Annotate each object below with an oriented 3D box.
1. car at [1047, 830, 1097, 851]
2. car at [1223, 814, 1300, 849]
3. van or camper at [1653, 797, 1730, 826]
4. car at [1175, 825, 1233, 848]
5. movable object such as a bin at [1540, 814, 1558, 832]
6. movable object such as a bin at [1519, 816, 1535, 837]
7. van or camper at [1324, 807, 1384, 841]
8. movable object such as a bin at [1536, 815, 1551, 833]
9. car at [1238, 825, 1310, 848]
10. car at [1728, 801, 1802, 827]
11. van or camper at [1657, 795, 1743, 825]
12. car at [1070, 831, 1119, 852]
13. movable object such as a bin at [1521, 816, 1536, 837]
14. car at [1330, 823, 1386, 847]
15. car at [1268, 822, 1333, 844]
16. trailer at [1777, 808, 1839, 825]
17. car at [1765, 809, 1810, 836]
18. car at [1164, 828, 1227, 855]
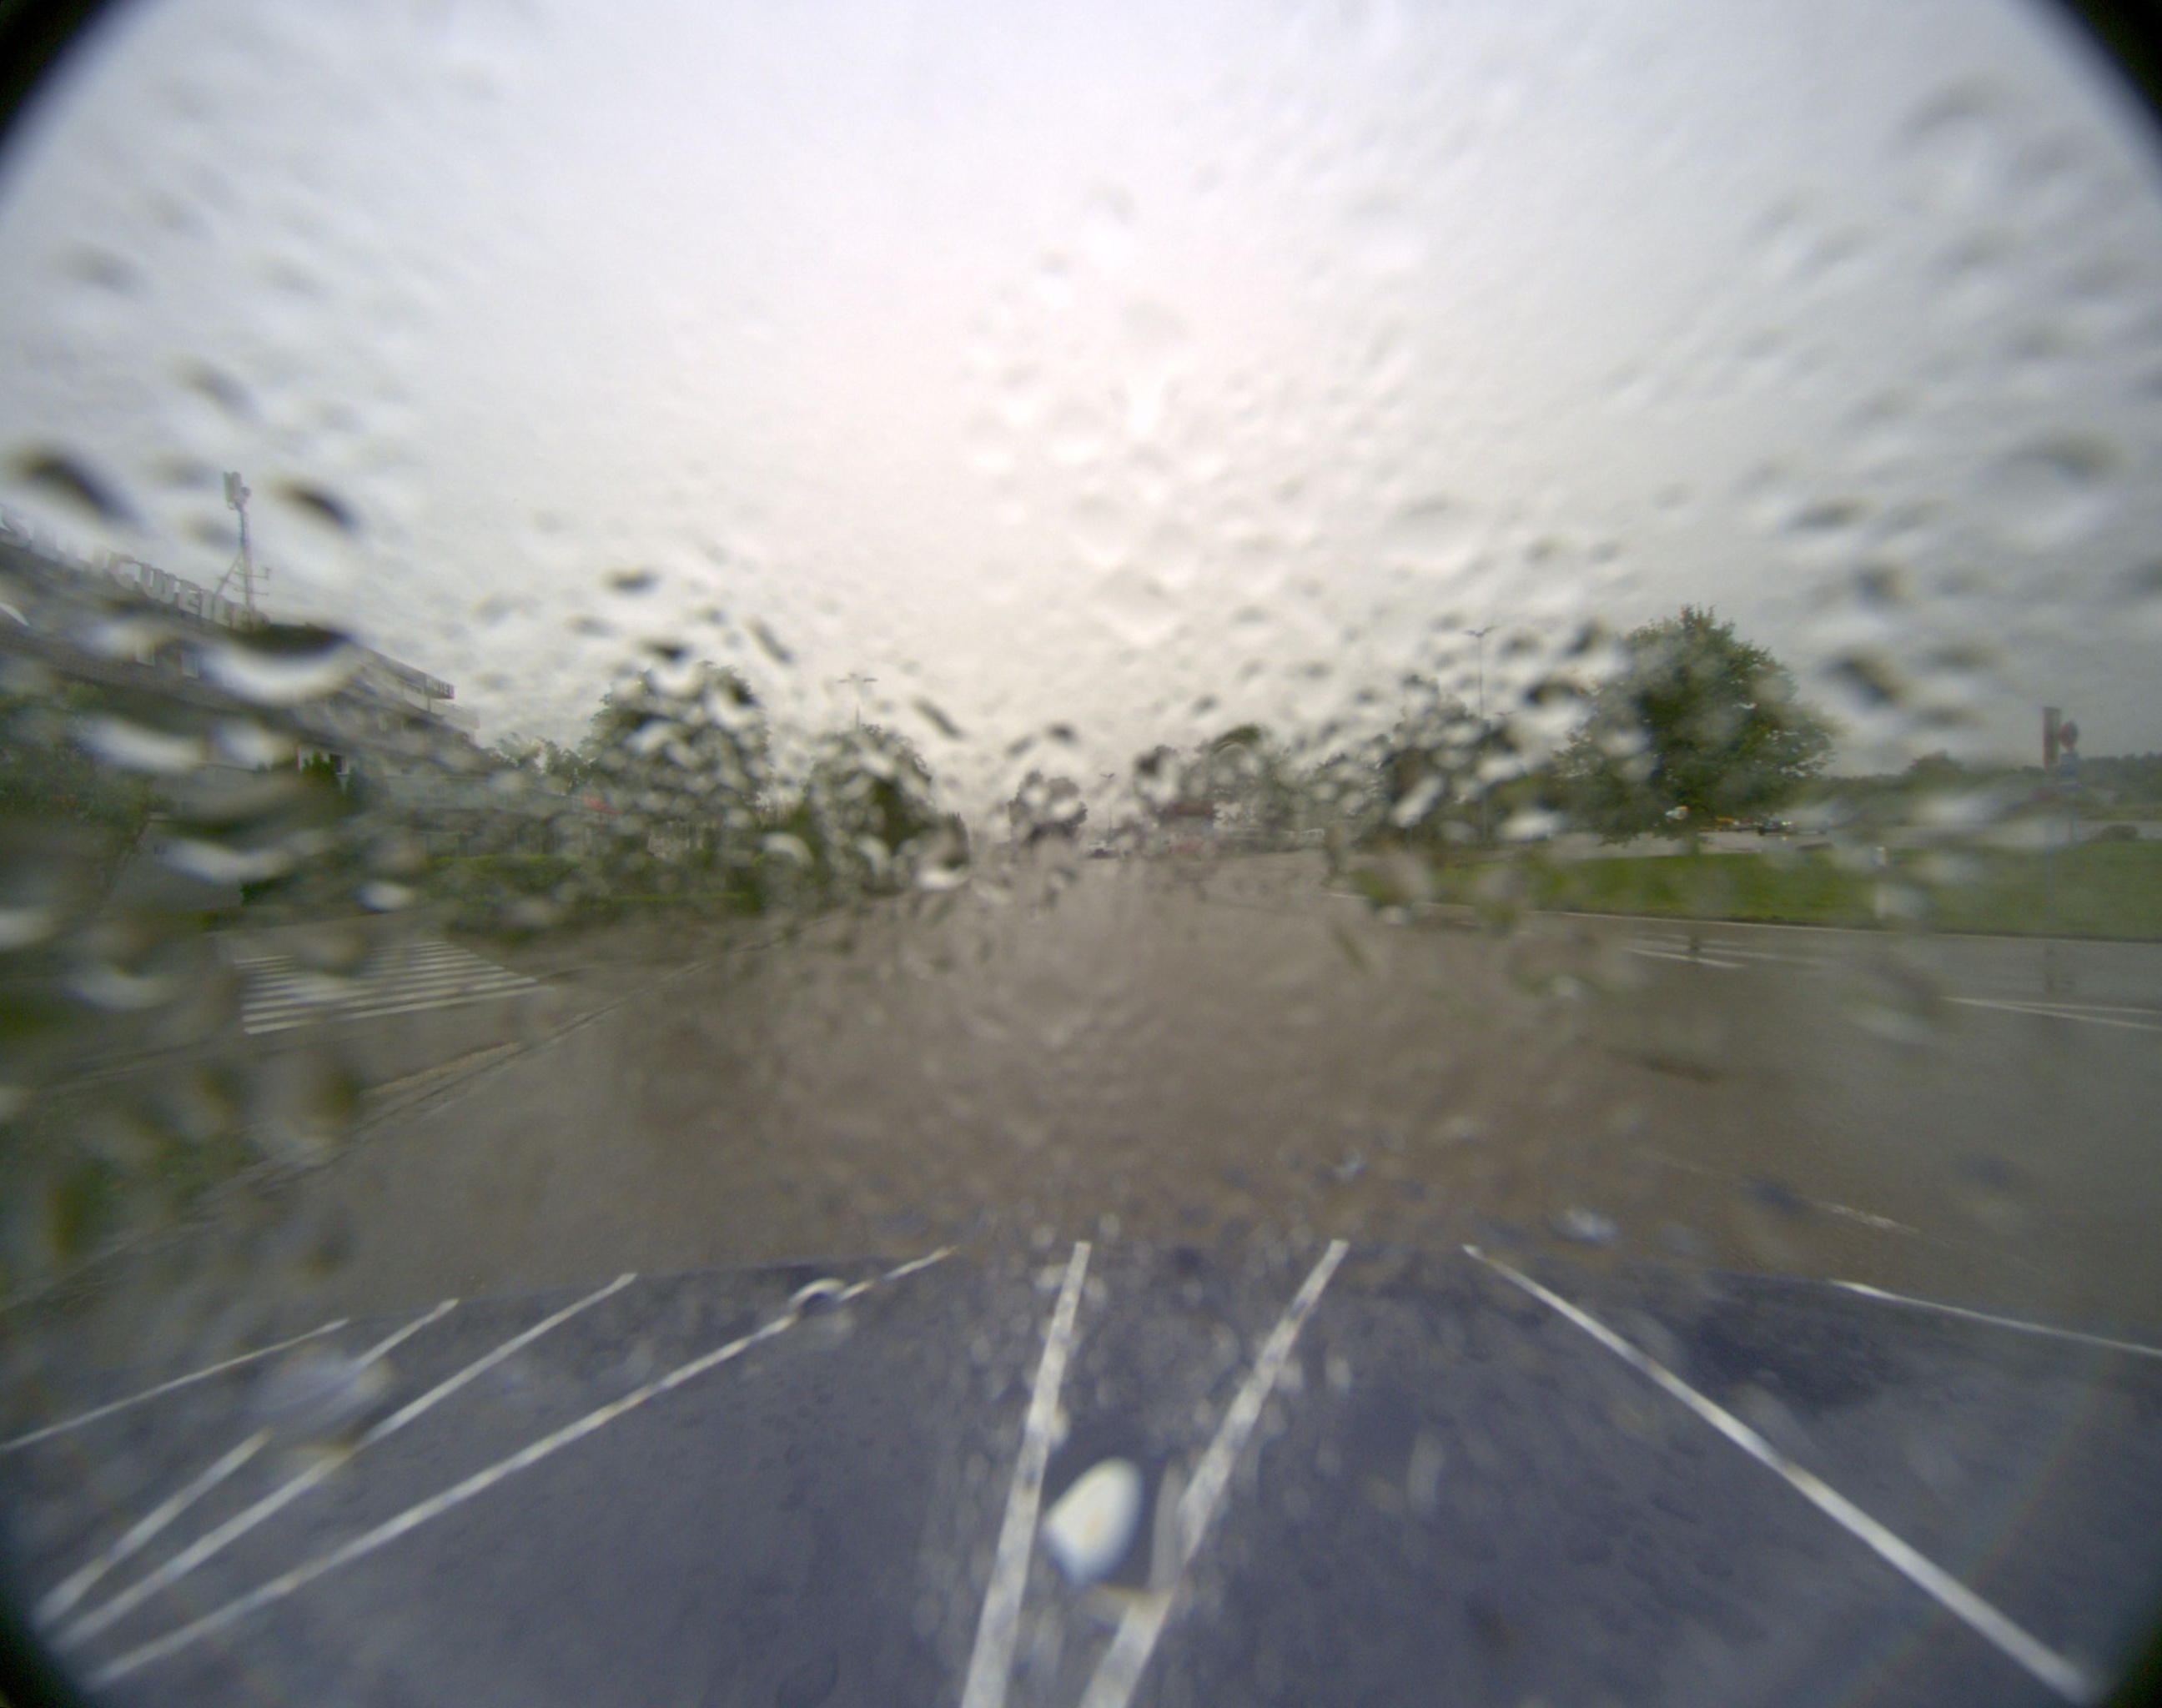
[{"bbox_3d":[-0.824,-1.161,66.755,4.037,1.683,1.802,-1,3,34],"label":"car"},{"bbox_3d":[12.661,-1.553,53.416,4.755,2.176,2.003,-2,3,33],"label":"car"},{"bbox_3d":[61.709,-4.284,76.819,7.070,2.701,1.996,-3,4,-13],"label":"van or camper"},{"bbox_3d":[10.435,-1.483,64.529,4.389,1.769,1.928,-2,3,30],"label":"car"},{"bbox_3d":[24.812,-1.627,40.290,0.557,0.915,0.629,-3,2,-26],"label":"movable object such as a bin"},{"bbox_3d":[20.222,-1.256,34.467,0.489,0.933,0.449,-4,3,-37],"label":"movable object such as a bin"},{"bbox_3d":[18.534,-2.066,51.436,2.188,1.935,5.205,1,5,39],"label":"van or camper"},{"bbox_3d":[24.177,-1.588,39.707,0.417,0.915,0.494,-3,3,-26],"label":"movable object such as a bin"},{"bbox_3d":[14.169,-1.284,55.889,4.755,1.464,1.889,-2,3,33],"label":"car"},{"bbox_3d":[46.309,-2.710,51.428,4.057,1.547,1.548,-2,2,-10],"label":"car"},{"bbox_3d":[51.876,-3.667,63.709,6.419,2.234,2.132,-3,2,-13],"label":"van or camper"},{"bbox_3d":[1.209,-1.147,68.784,4.039,1.683,1.715,-2,3,22],"label":"car"},{"bbox_3d":[20.558,-1.271,34.912,0.489,0.912,0.449,-4,3,-37],"label":"movable object such as a bin"},{"bbox_3d":[26.616,-1.787,73.047,4.755,2.070,2.003,-2,3,33],"label":"car"},{"bbox_3d":[18.171,-1.758,62.975,4.755,1.578,2.003,-2,3,33],"label":"car"},{"bbox_3d":[49.841,-2.589,52.105,3.030,1.061,1.587,-2,1,-10],"label":"trailer"},{"bbox_3d":[40.081,-1.808,43.167,1.774,1.425,4.085,0,3,42],"label":"car"},{"bbox_3d":[8.929,-0.935,59.232,4.389,1.875,1.928,-2,3,30],"label":"car"}]
